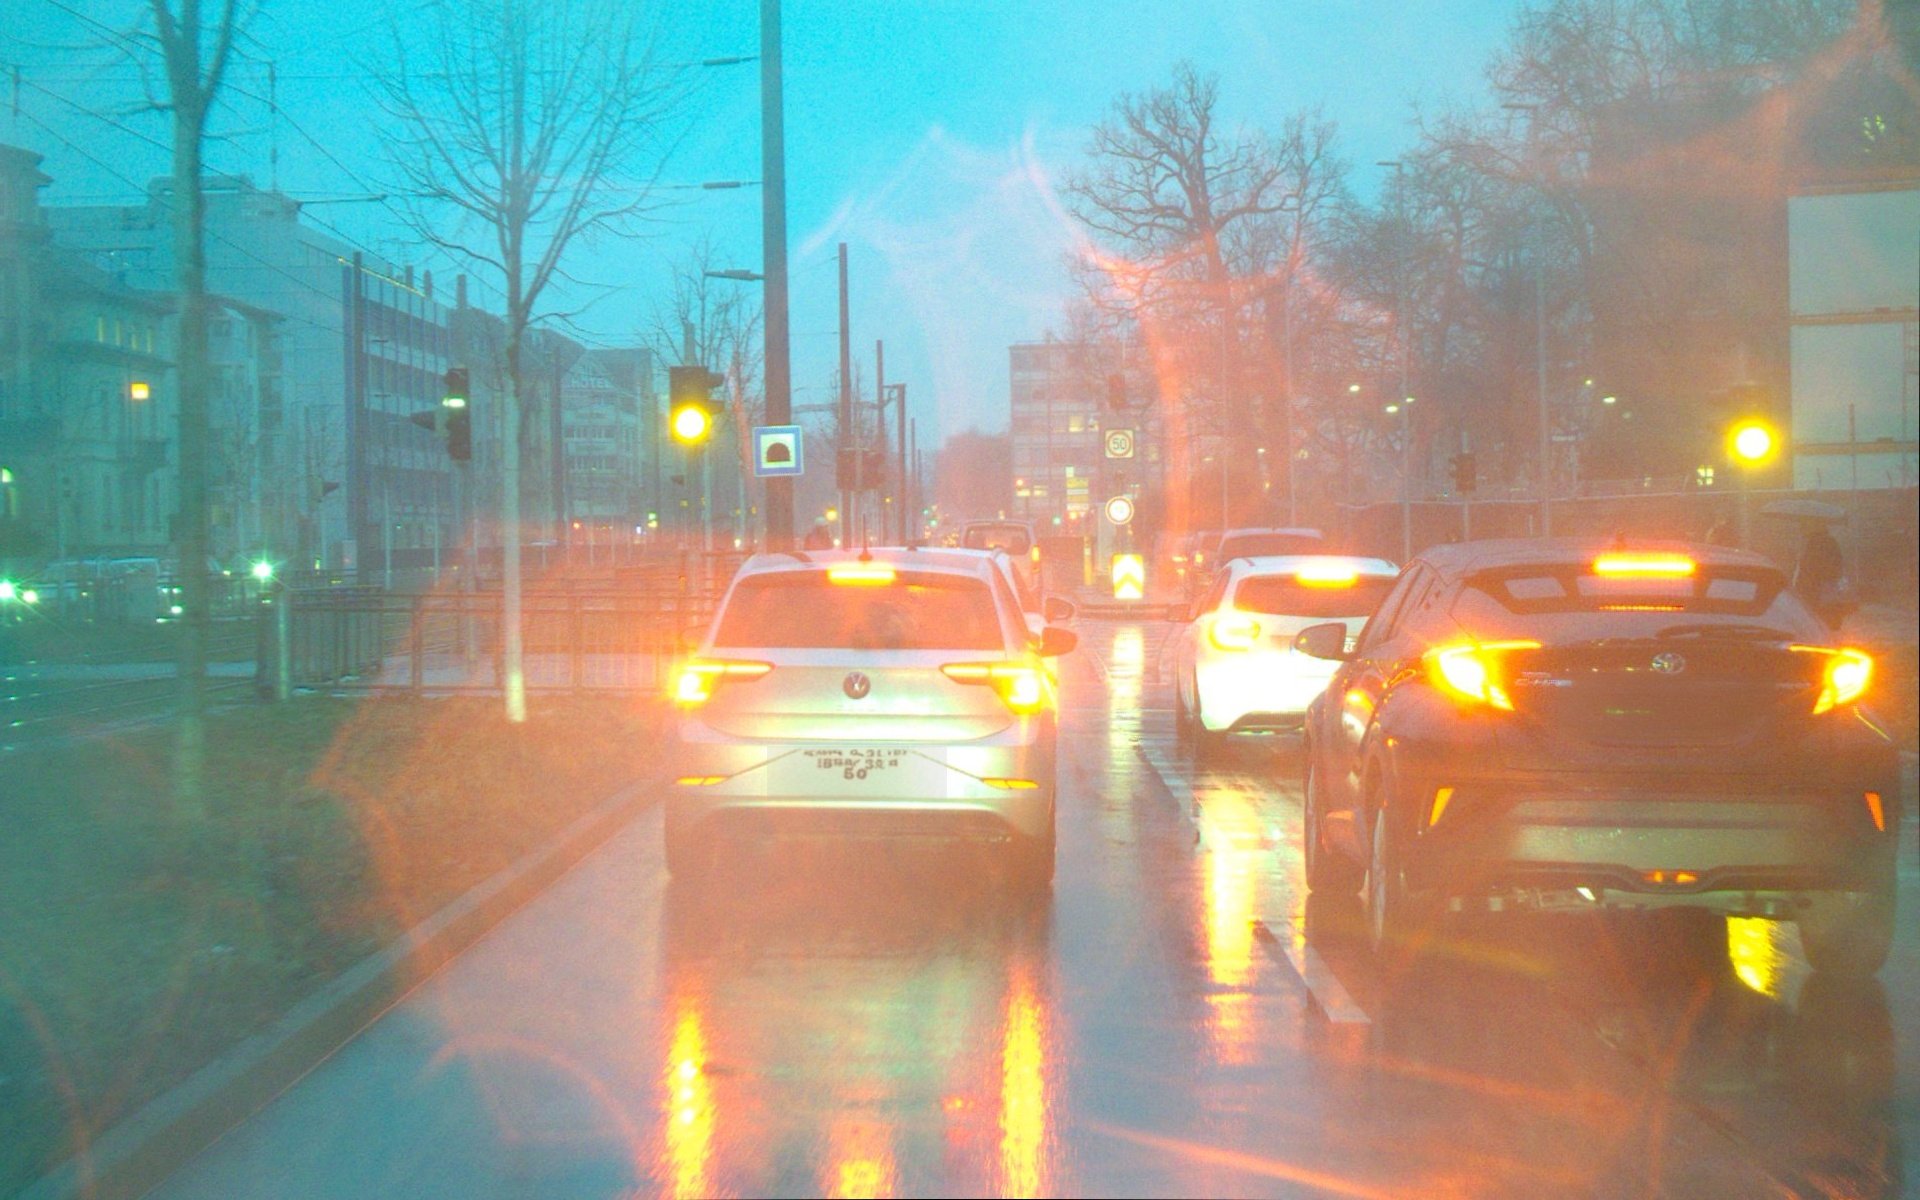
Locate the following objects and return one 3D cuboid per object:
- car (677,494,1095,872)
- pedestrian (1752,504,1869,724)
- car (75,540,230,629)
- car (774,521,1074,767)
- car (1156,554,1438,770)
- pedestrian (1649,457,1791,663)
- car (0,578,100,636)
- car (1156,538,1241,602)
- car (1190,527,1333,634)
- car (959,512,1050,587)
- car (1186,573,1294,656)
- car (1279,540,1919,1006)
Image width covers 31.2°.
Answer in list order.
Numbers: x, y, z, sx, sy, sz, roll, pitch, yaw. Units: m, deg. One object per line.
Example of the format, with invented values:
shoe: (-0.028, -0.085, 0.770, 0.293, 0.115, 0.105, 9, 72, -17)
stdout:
car: (-0.348, 0.300, 16.024, 1.693, 1.528, 4.000, 0, 1, -1)
pedestrian: (7.907, 0.123, 32.008, 0.959, 2.007, 1.007, -1, 1, 9)
car: (-15.372, -0.307, 65.613, 1.993, 1.597, 4.000, 1, 1, 0)
car: (-0.181, 0.224, 23.126, 1.799, 1.461, 4.586, -1, 1, 1)
car: (2.385, 0.399, 25.103, 1.745, 1.428, 3.731, 1, 1, 1)
pedestrian: (7.558, -0.399, 34.196, 0.958, 2.007, 1.008, -1, 1, -21)
car: (-21.154, 0.141, 79.815, 1.690, 1.273, 4.149, -1, 1, -5)
car: (5.480, -0.707, 79.372, 1.738, 1.415, 4.146, -1, 1, 1)
car: (4.208, -0.302, 48.420, 1.738, 1.415, 3.703, -1, 1, 1)
car: (0.905, -1.023, 69.002, 1.738, 1.415, 4.394, -1, 1, 1)
car: (5.160, 0.249, 63.739, 1.738, 1.415, 3.703, -1, 1, 1)
car: (2.278, 0.538, 13.166, 1.800, 1.505, 3.895, -1, 1, 1)
